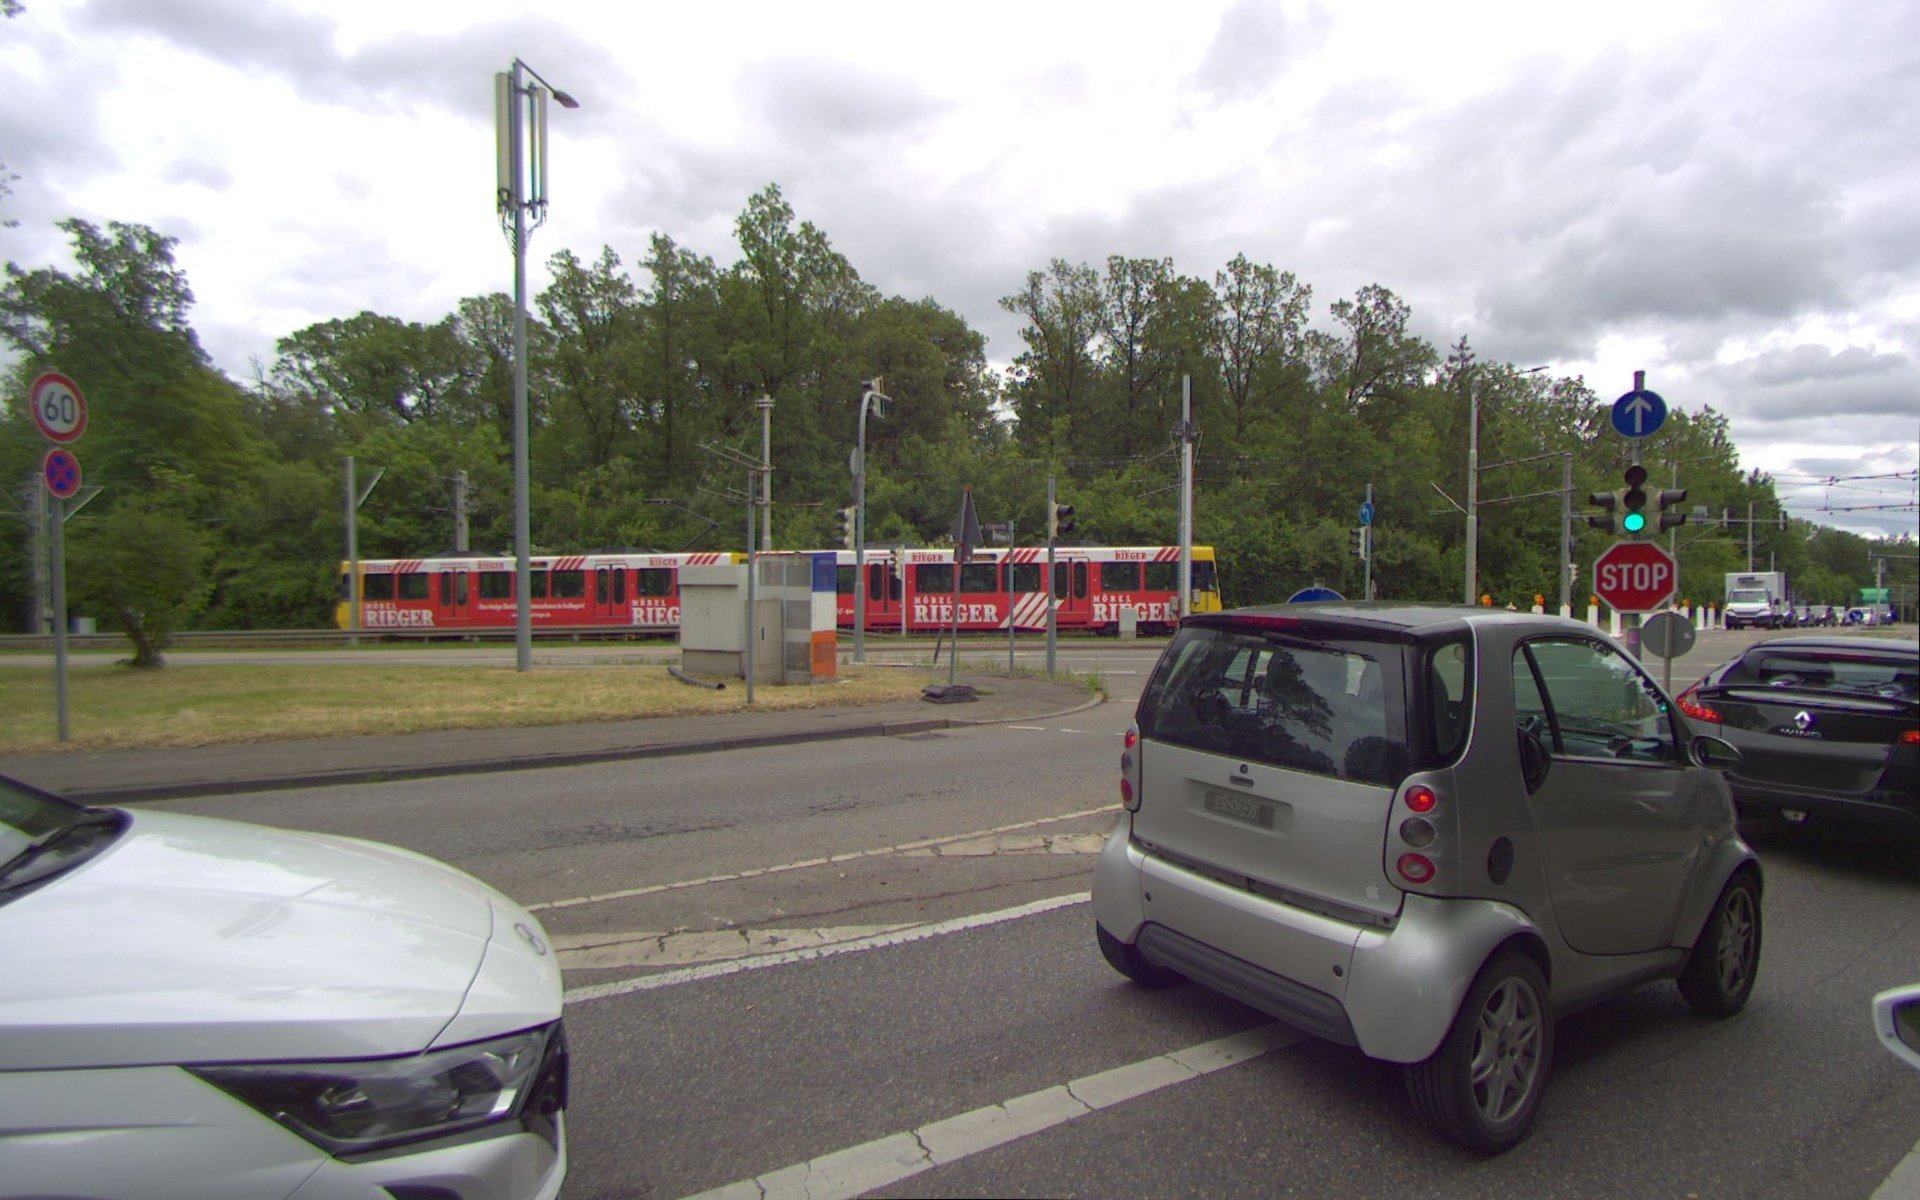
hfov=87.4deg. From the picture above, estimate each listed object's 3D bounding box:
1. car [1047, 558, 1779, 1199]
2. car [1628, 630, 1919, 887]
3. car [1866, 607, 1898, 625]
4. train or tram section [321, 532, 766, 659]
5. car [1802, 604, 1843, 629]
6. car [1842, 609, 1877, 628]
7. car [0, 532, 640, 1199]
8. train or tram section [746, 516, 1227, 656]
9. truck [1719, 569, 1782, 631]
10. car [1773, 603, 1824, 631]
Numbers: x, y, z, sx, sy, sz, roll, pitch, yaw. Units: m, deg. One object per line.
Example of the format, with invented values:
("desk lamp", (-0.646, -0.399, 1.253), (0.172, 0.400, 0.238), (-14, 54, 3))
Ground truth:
("car", (1.829, 0.718, 3.897), (2.701, 1.607, 1.447), (1, -1, -36))
("car", (6.334, 0.933, 7.132), (3.448, 1.379, 1.759), (1, -1, -40))
("car", (85.555, 1.483, 93.170), (4.282, 1.561, 1.942), (0, 0, -45))
("train or tram section", (-17.369, -0.270, 41.765), (18.349, 4.477, 2.967), (2, 0, 11))
("car", (65.394, 1.222, 76.131), (4.659, 1.869, 1.942), (0, 0, -45))
("car", (75.507, 1.520, 84.329), (4.367, 1.562, 1.942), (0, 0, -45))
("car", (-2.674, 0.657, 1.435), (4.021, 1.499, 1.643), (1, -1, -28))
("train or tram section", (0.991, -0.542, 39.741), (18.175, 4.712, 2.957), (2, 0, 2))
("truck", (44.738, 0.041, 56.758), (2.421, 3.267, 7.118), (0, -1, 41))
("car", (55.371, 1.100, 66.307), (4.811, 1.773, 1.943), (0, 0, -43))
